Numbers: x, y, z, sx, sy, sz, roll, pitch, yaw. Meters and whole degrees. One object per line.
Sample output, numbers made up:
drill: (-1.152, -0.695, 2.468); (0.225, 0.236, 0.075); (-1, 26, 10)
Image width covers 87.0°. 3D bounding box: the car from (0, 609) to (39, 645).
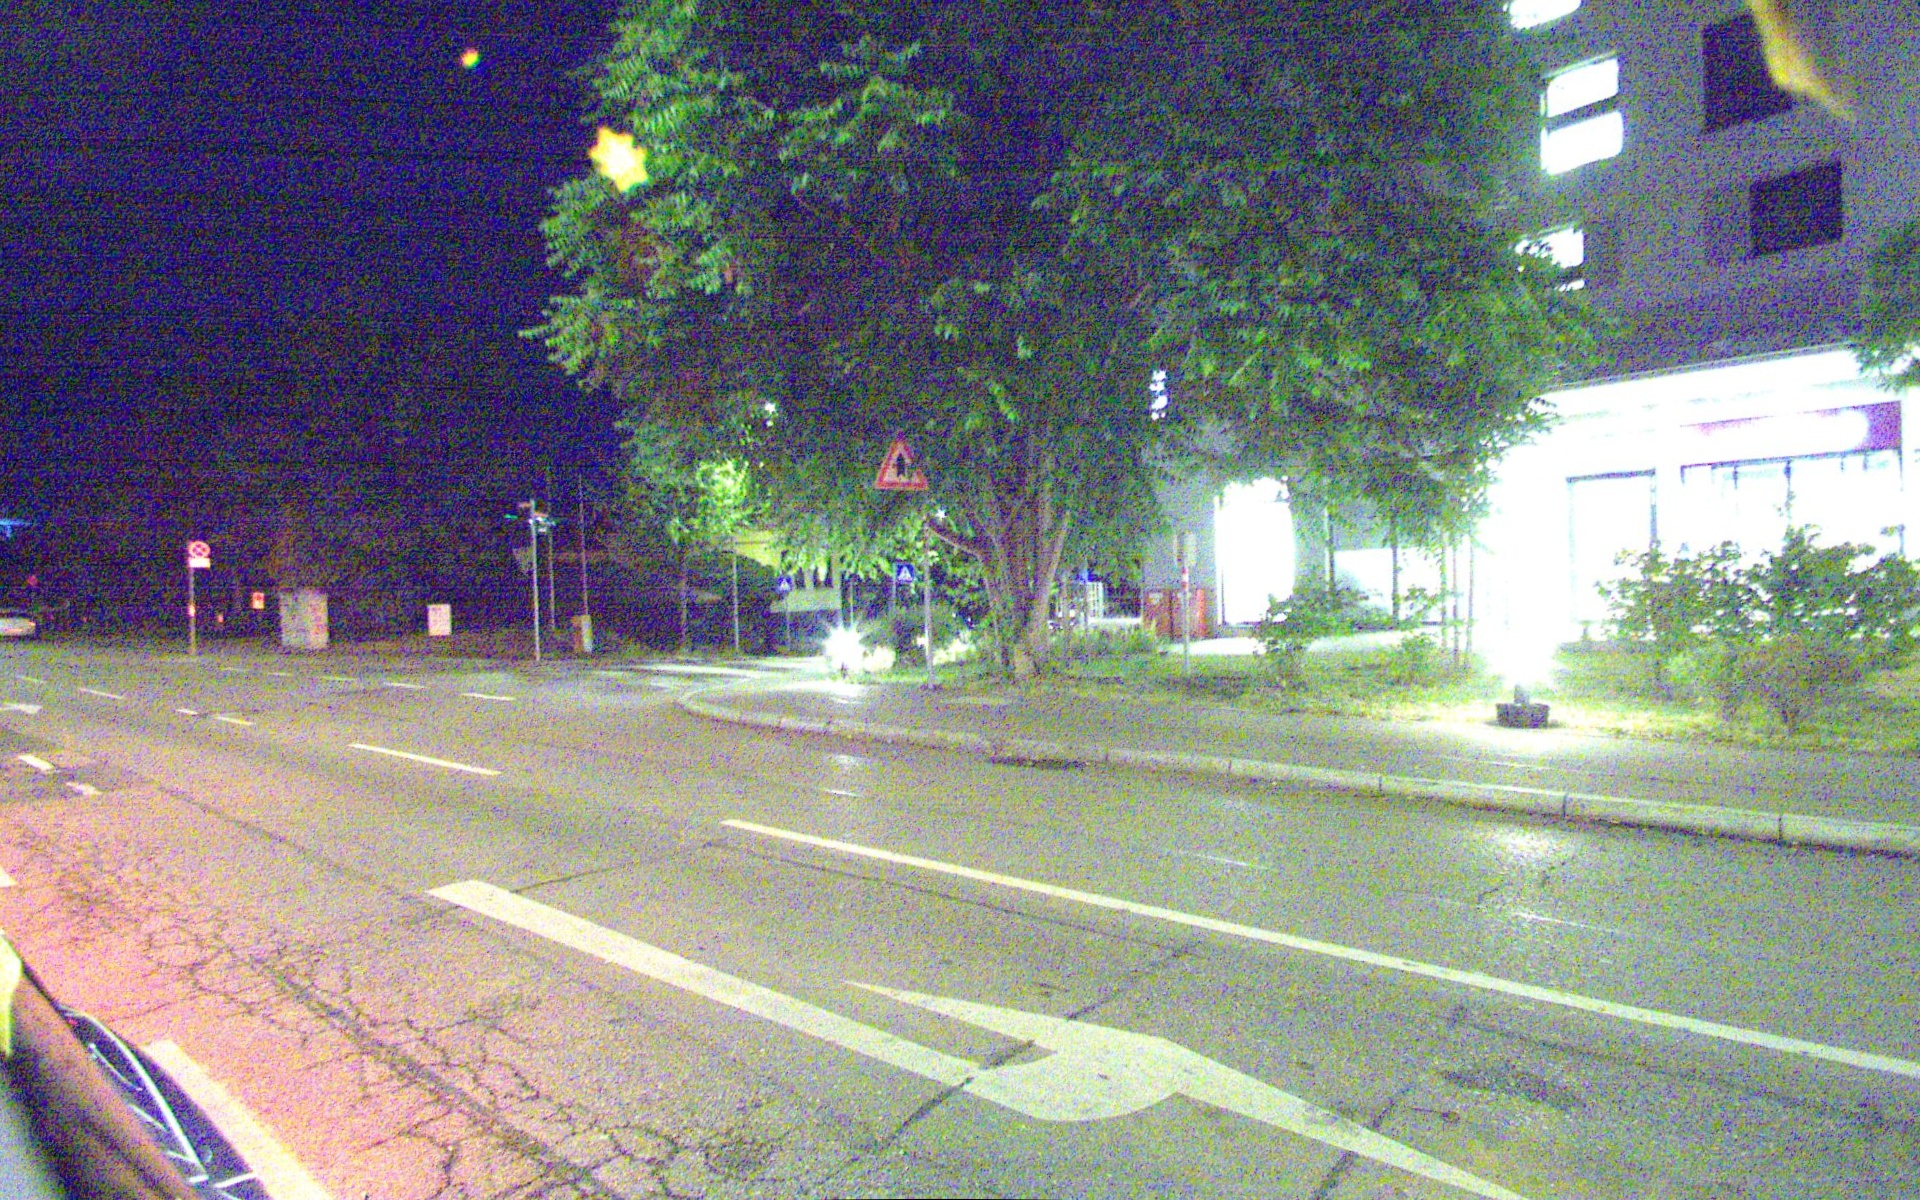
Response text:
car: (-43.242, 1.212, 45.777); (3.998, 1.464, 1.887); (1, 2, 41)
